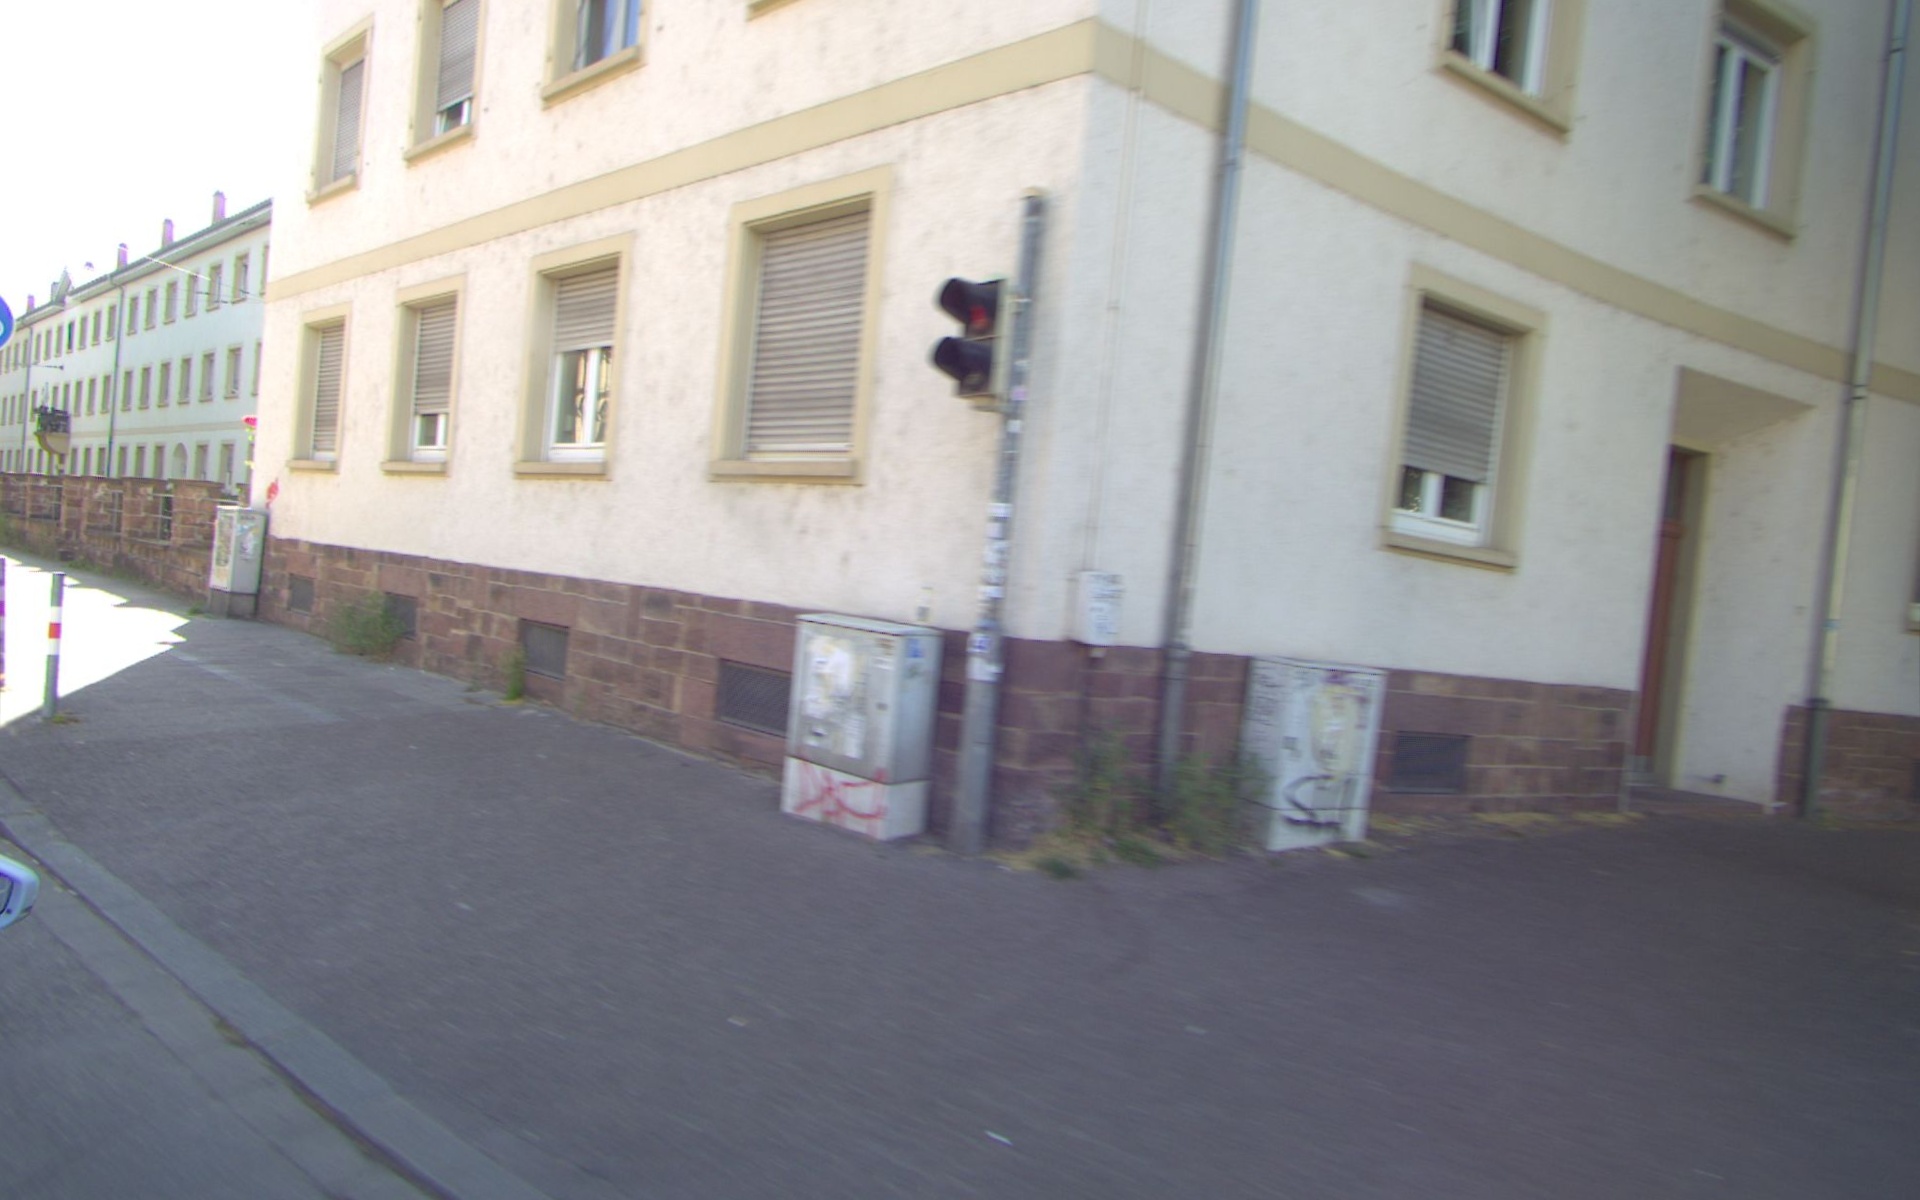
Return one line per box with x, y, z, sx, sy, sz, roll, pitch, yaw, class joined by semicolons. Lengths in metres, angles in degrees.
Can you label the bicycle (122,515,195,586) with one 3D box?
-14.329;-0.902;17.973;1.645;1.106;0.459;7;1;33;bicycle
